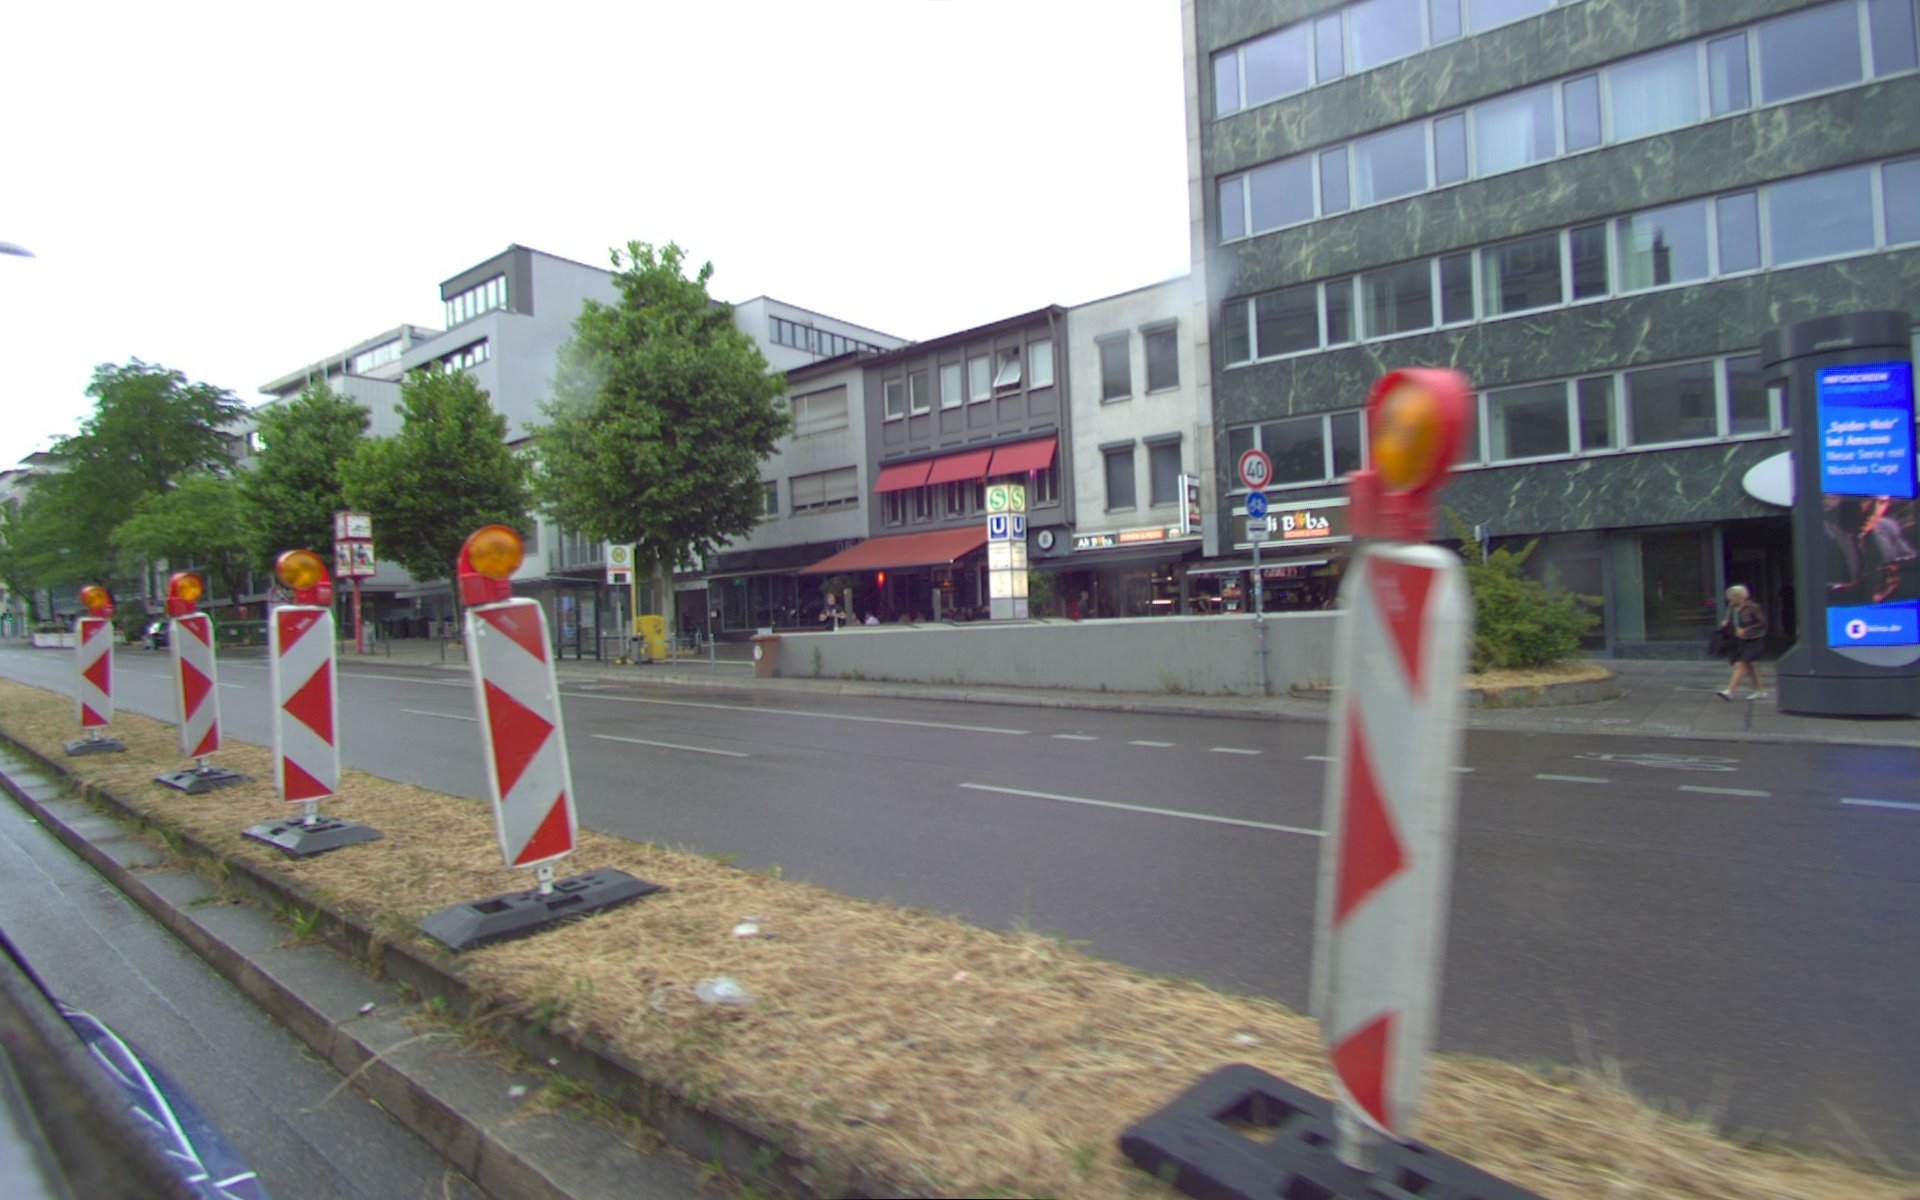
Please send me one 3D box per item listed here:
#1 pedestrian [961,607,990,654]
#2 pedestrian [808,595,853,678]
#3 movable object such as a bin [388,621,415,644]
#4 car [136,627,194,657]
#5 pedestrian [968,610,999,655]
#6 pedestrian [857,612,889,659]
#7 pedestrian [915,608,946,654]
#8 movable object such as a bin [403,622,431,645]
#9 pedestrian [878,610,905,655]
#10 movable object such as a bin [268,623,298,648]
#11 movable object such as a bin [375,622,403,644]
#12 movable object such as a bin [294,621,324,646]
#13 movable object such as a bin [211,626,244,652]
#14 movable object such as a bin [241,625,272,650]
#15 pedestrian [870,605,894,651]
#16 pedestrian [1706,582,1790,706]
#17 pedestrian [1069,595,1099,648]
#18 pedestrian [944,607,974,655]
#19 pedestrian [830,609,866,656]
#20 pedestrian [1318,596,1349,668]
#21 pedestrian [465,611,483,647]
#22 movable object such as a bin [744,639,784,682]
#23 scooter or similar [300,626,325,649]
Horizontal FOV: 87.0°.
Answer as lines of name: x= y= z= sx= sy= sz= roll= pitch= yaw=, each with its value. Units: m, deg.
pedestrian: x=0.500 y=0.968 z=32.258 sx=0.690 sy=1.461 sz=0.627 roll=-2 pitch=-1 yaw=34
pedestrian: x=-3.034 y=0.848 z=23.751 sx=0.757 sy=1.899 sz=0.683 roll=-2 pitch=-1 yaw=37
movable object such as a bin: x=-35.851 y=2.059 z=64.974 sx=1.278 sy=1.446 sz=1.077 roll=-2 pitch=-1 yaw=32
car: x=-46.085 y=2.453 z=58.624 sx=4.019 sy=1.648 sz=1.761 roll=-3 pitch=-2 yaw=38
pedestrian: x=0.718 y=0.995 z=31.085 sx=0.690 sy=1.354 sz=0.627 roll=-2 pitch=-1 yaw=34
pedestrian: x=-2.739 y=1.107 z=31.787 sx=0.706 sy=1.461 sz=0.683 roll=-2 pitch=-1 yaw=37
pedestrian: x=-0.960 y=0.992 z=32.564 sx=0.690 sy=1.461 sz=0.720 roll=-2 pitch=-1 yaw=34
movable object such as a bin: x=-34.548 y=2.116 z=64.379 sx=1.278 sy=1.446 sz=1.077 roll=-2 pitch=-1 yaw=32
pedestrian: x=-2.267 y=1.066 z=33.630 sx=0.546 sy=1.461 sz=0.683 roll=-2 pitch=-1 yaw=37
movable object such as a bin: x=-40.395 y=2.104 z=60.375 sx=1.088 sy=1.437 sz=1.265 roll=-2 pitch=-1 yaw=41
movable object such as a bin: x=-37.137 y=2.149 z=65.830 sx=1.278 sy=1.446 sz=1.077 roll=-2 pitch=-1 yaw=32
movable object such as a bin: x=-39.504 y=2.033 z=61.429 sx=1.088 sy=1.499 sz=1.265 roll=-2 pitch=-1 yaw=41
movable object such as a bin: x=-42.145 y=2.221 z=58.239 sx=1.088 sy=1.437 sz=1.345 roll=-2 pitch=-1 yaw=41
movable object such as a bin: x=-41.233 y=2.181 z=59.332 sx=1.088 sy=1.437 sz=1.265 roll=-2 pitch=-1 yaw=41
pedestrian: x=-2.734 y=0.984 z=35.643 sx=0.603 sy=1.582 sz=0.591 roll=-1 pitch=-1 yaw=31
pedestrian: x=10.952 y=0.591 z=14.070 sx=0.746 sy=1.665 sz=0.693 roll=-1 pitch=-1 yaw=-35
pedestrian: x=3.475 y=0.590 z=28.295 sx=0.587 sy=1.461 sz=0.597 roll=-2 pitch=-1 yaw=36
pedestrian: x=-0.027 y=0.961 z=31.537 sx=0.690 sy=1.461 sz=0.627 roll=-2 pitch=-1 yaw=34
pedestrian: x=-3.603 y=1.029 z=32.431 sx=0.912 sy=1.461 sz=0.683 roll=-2 pitch=-1 yaw=37
pedestrian: x=10.007 y=0.850 z=27.099 sx=0.590 sy=1.899 sz=0.749 roll=-2 pitch=-1 yaw=34
pedestrian: x=-24.773 y=1.475 z=51.587 sx=0.653 sy=1.776 sz=0.688 roll=-2 pitch=-2 yaw=43
movable object such as a bin: x=-4.207 y=1.301 z=21.755 sx=0.680 sy=0.904 sz=0.527 roll=-2 pitch=-3 yaw=32
scooter or similar: x=-35.250 y=2.020 z=55.075 sx=1.323 sy=1.130 sz=0.767 roll=-6 pitch=-1 yaw=42
